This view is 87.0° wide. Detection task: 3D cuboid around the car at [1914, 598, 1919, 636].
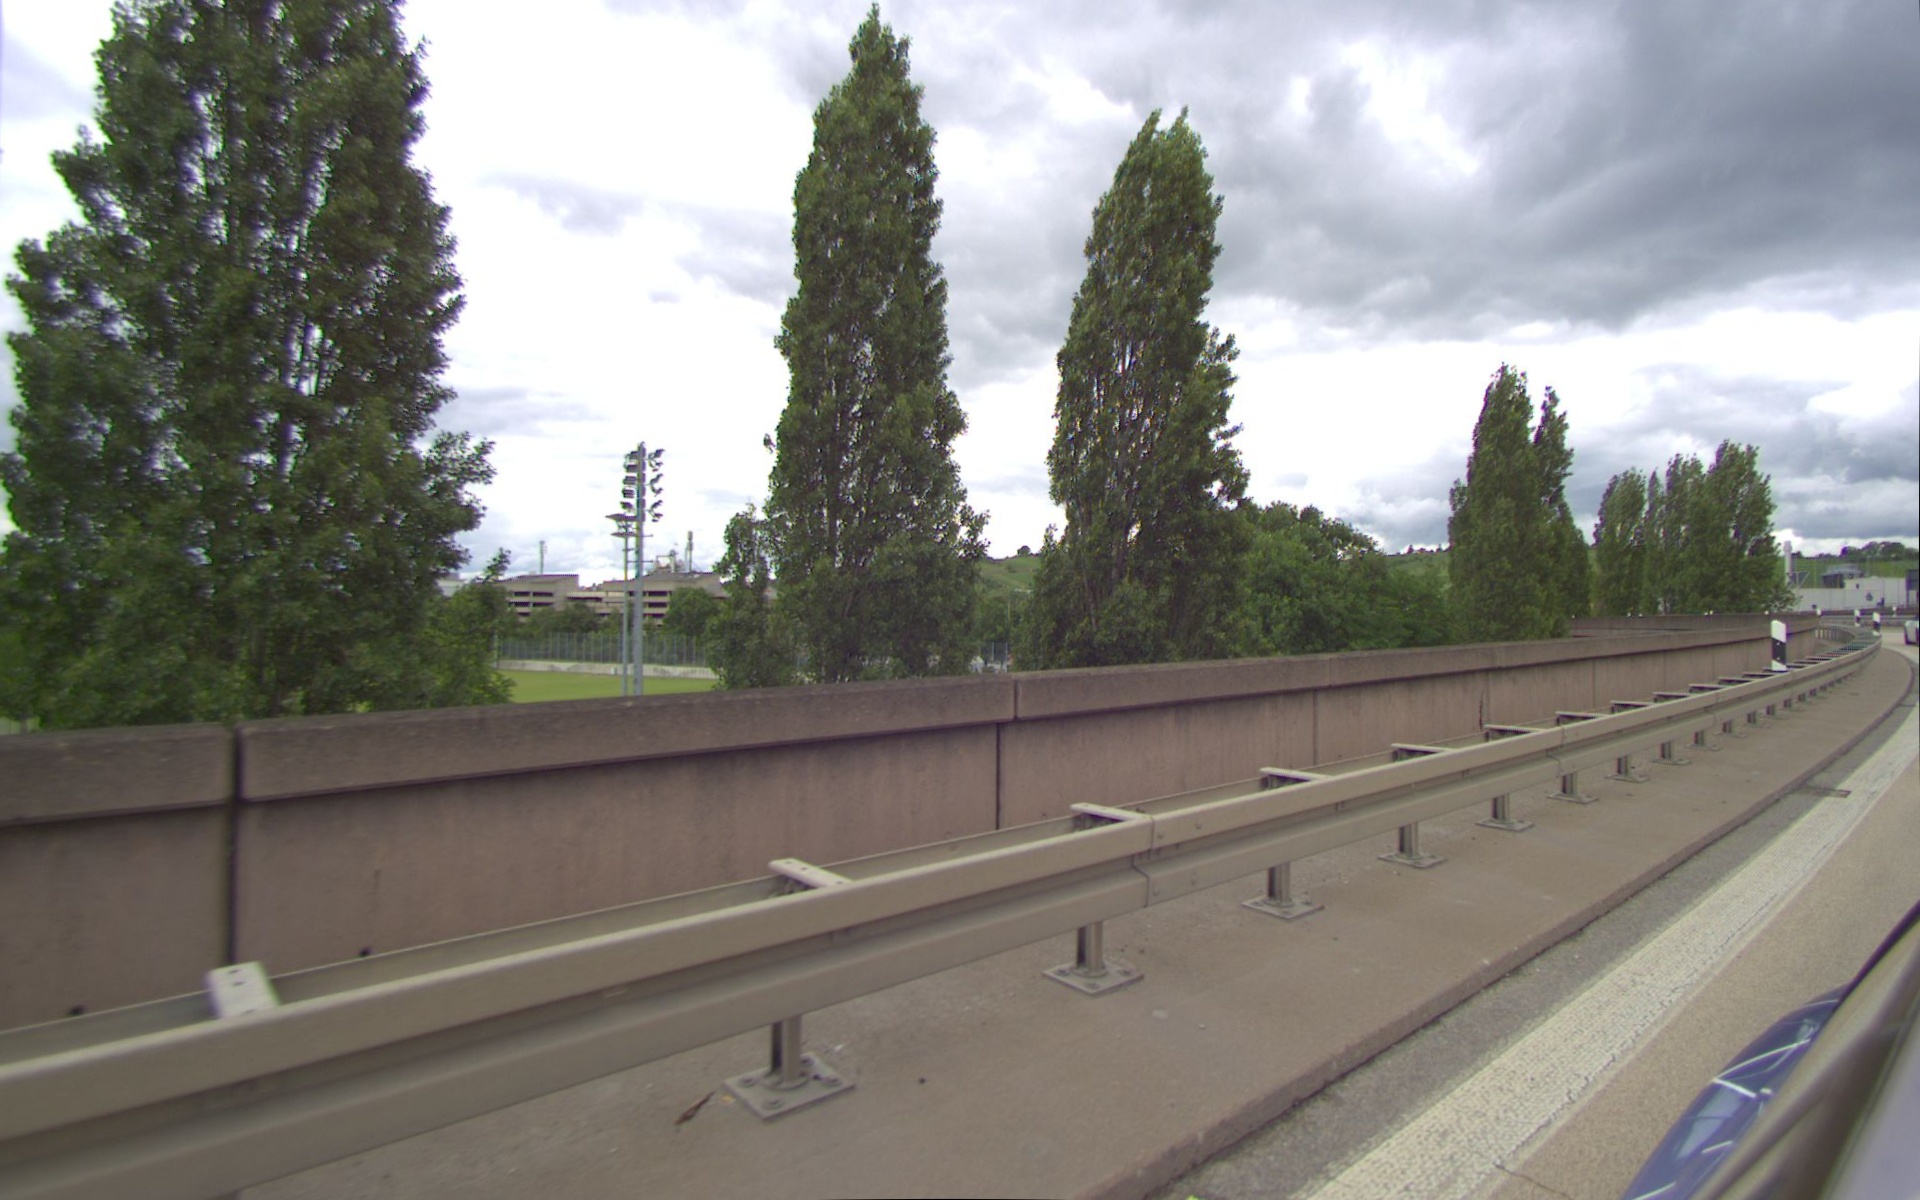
[{"bbox_3d":[35.088,0.616,35.528,1.854,1.362,4.757,-4,-2,39],"label":"car"}]
